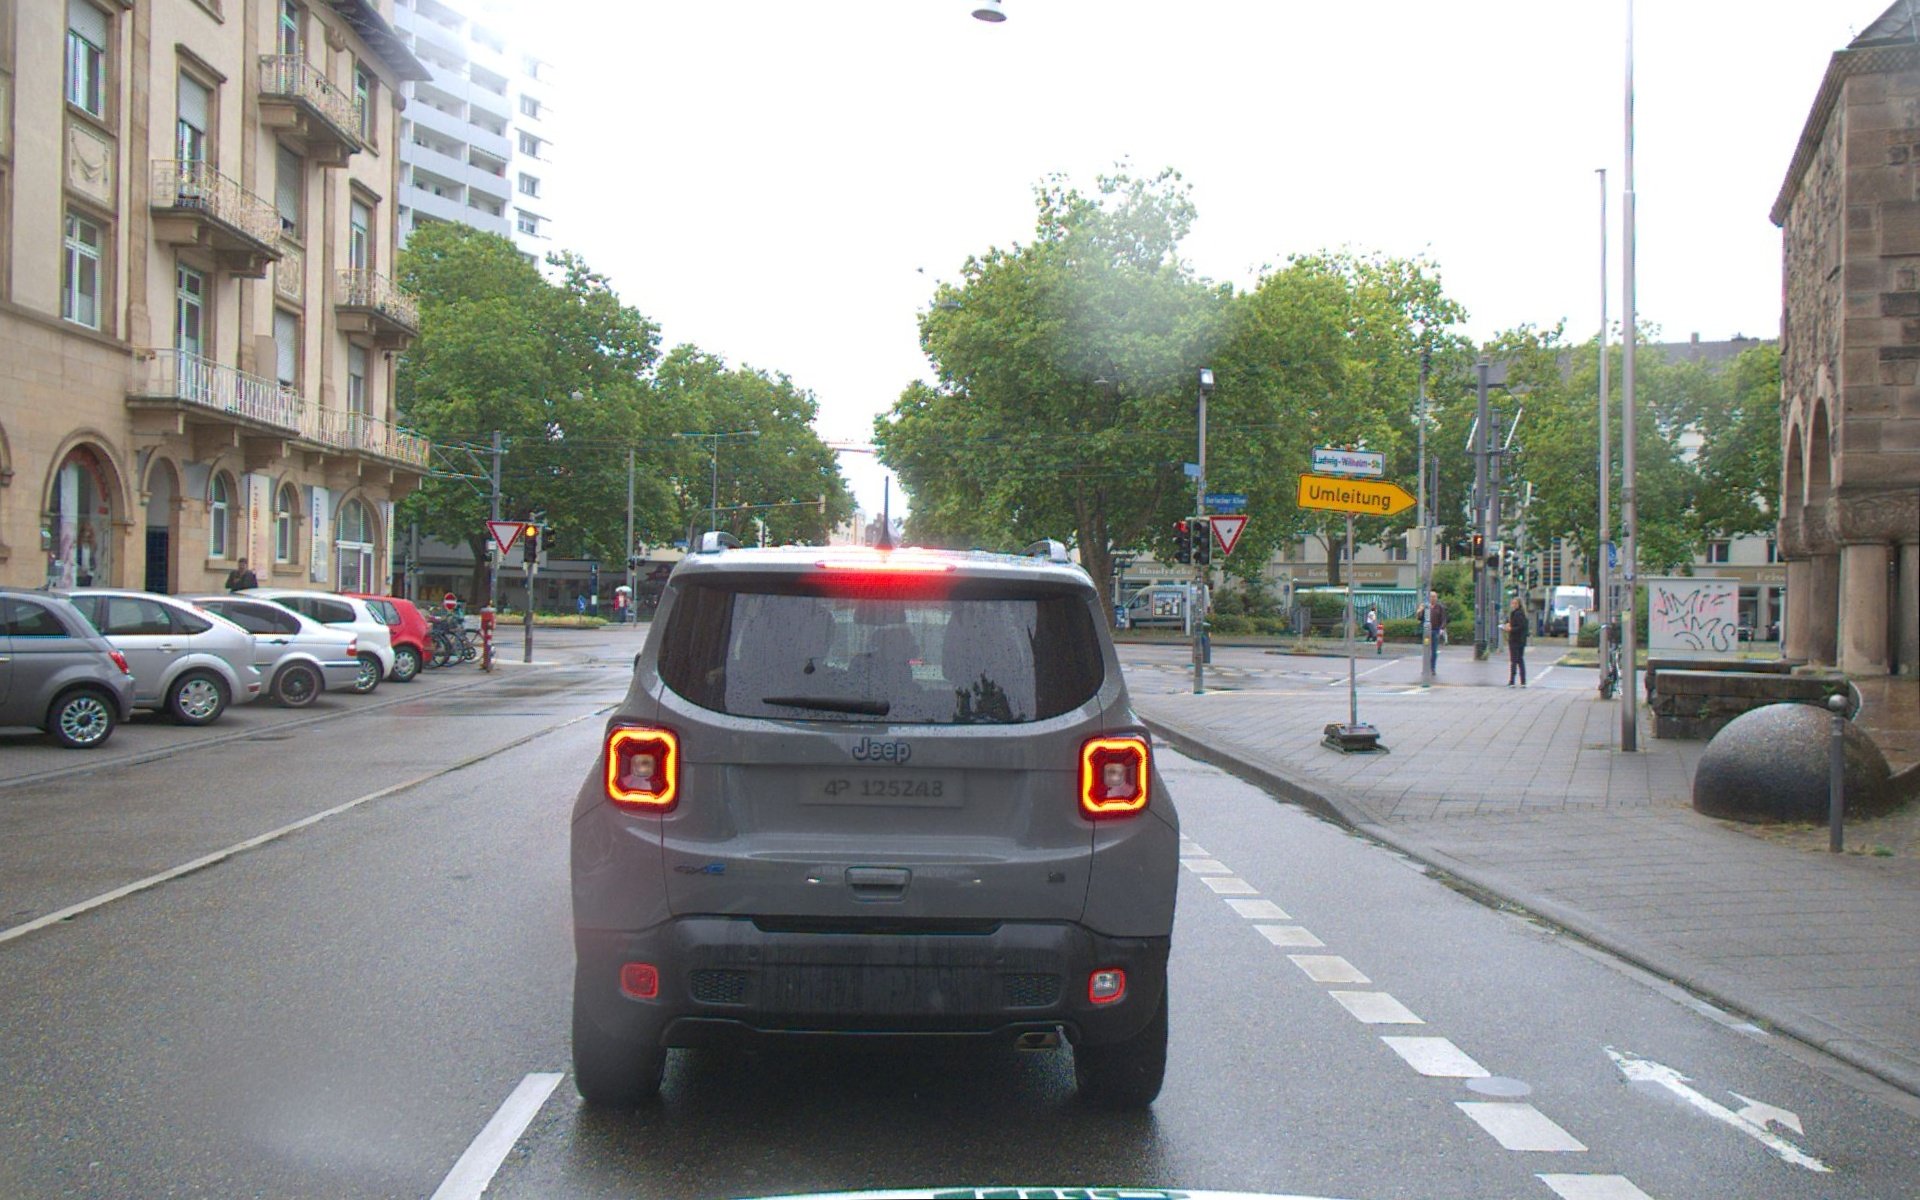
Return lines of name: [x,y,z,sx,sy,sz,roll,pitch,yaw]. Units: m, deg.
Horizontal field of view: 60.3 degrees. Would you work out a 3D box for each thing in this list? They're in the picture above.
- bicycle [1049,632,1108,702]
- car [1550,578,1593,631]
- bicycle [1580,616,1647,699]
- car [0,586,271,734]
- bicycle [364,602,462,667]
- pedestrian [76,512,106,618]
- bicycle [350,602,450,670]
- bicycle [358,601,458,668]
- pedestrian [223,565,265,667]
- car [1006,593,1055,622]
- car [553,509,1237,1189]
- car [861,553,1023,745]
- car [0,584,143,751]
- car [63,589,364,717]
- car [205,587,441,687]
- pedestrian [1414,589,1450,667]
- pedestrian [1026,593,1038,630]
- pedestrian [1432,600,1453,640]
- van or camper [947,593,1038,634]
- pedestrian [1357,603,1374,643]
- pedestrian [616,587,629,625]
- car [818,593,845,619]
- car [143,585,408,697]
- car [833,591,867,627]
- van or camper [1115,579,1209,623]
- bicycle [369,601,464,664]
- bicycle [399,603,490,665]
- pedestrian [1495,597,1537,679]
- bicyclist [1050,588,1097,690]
bicycle: [1.921,1.068,27.088,0.678,1.039,2.657,0,0,-2]
car: [31.217,0.228,84.337,1.868,2.600,4.786,0,0,22]
bicycle: [9.823,0.840,24.922,0.322,1.174,2.076,0,0,4]
car: [-9.954,0.641,19.065,3.372,1.585,1.681,1,0,-41]
bicycle: [-10.917,0.681,33.020,1.774,1.288,0.498,0,0,-3]
pedestrian: [-15.364,-0.612,29.240,0.359,1.854,0.347,0,-1,-4]
bicycle: [-10.748,0.683,31.792,1.728,1.288,0.522,0,0,-3]
bicycle: [-10.777,0.674,32.339,1.774,1.288,0.498,0,0,-3]
pedestrian: [-14.587,0.323,33.723,0.556,2.049,0.654,1,0,-1]
car: [5.102,0.526,119.448,3.363,2.049,1.549,0,-1,12]
car: [-0.223,0.624,6.155,1.739,1.716,3.846,0,0,-2]
car: [-0.240,0.524,19.842,1.734,2.049,3.999,1,0,-1]
car: [-9.958,0.628,16.036,3.372,1.585,1.629,1,0,-41]
car: [-9.999,0.661,22.248,3.372,1.585,1.681,1,0,-41]
car: [-10.739,0.600,27.961,3.372,1.585,1.681,1,0,-41]
pedestrian: [10.941,0.648,38.372,0.769,1.790,0.946,0,0,14]
pedestrian: [4.030,0.635,92.588,0.637,2.049,0.483,1,0,11]
pedestrian: [19.521,0.799,66.913,0.660,1.581,0.761,0,-2,27]
van or camper: [2.440,0.984,124.779,6.395,2.963,2.493,0,0,24]
pedestrian: [16.421,0.927,66.987,0.600,1.631,0.494,0,0,23]
pedestrian: [-16.294,0.289,79.824,0.607,1.858,0.692,0,0,-10]
car: [-8.797,0.417,113.129,1.779,1.700,3.916,1,0,-5]
car: [-10.352,0.582,25.100,3.372,1.585,1.681,1,0,-41]
car: [-5.656,0.432,84.614,1.688,1.769,3.726,1,0,-5]
van or camper: [11.561,0.044,94.982,5.149,2.356,2.090,1,0,3]
bicycle: [-11.177,0.661,34.044,1.728,1.288,0.608,0,0,-3]
bicycle: [-10.870,0.708,34.928,1.728,1.288,0.608,0,0,-3]
pedestrian: [11.485,0.770,34.144,0.767,1.674,0.655,0,0,23]
bicyclist: [1.870,0.629,27.244,0.673,1.646,0.883,0,0,-2]
